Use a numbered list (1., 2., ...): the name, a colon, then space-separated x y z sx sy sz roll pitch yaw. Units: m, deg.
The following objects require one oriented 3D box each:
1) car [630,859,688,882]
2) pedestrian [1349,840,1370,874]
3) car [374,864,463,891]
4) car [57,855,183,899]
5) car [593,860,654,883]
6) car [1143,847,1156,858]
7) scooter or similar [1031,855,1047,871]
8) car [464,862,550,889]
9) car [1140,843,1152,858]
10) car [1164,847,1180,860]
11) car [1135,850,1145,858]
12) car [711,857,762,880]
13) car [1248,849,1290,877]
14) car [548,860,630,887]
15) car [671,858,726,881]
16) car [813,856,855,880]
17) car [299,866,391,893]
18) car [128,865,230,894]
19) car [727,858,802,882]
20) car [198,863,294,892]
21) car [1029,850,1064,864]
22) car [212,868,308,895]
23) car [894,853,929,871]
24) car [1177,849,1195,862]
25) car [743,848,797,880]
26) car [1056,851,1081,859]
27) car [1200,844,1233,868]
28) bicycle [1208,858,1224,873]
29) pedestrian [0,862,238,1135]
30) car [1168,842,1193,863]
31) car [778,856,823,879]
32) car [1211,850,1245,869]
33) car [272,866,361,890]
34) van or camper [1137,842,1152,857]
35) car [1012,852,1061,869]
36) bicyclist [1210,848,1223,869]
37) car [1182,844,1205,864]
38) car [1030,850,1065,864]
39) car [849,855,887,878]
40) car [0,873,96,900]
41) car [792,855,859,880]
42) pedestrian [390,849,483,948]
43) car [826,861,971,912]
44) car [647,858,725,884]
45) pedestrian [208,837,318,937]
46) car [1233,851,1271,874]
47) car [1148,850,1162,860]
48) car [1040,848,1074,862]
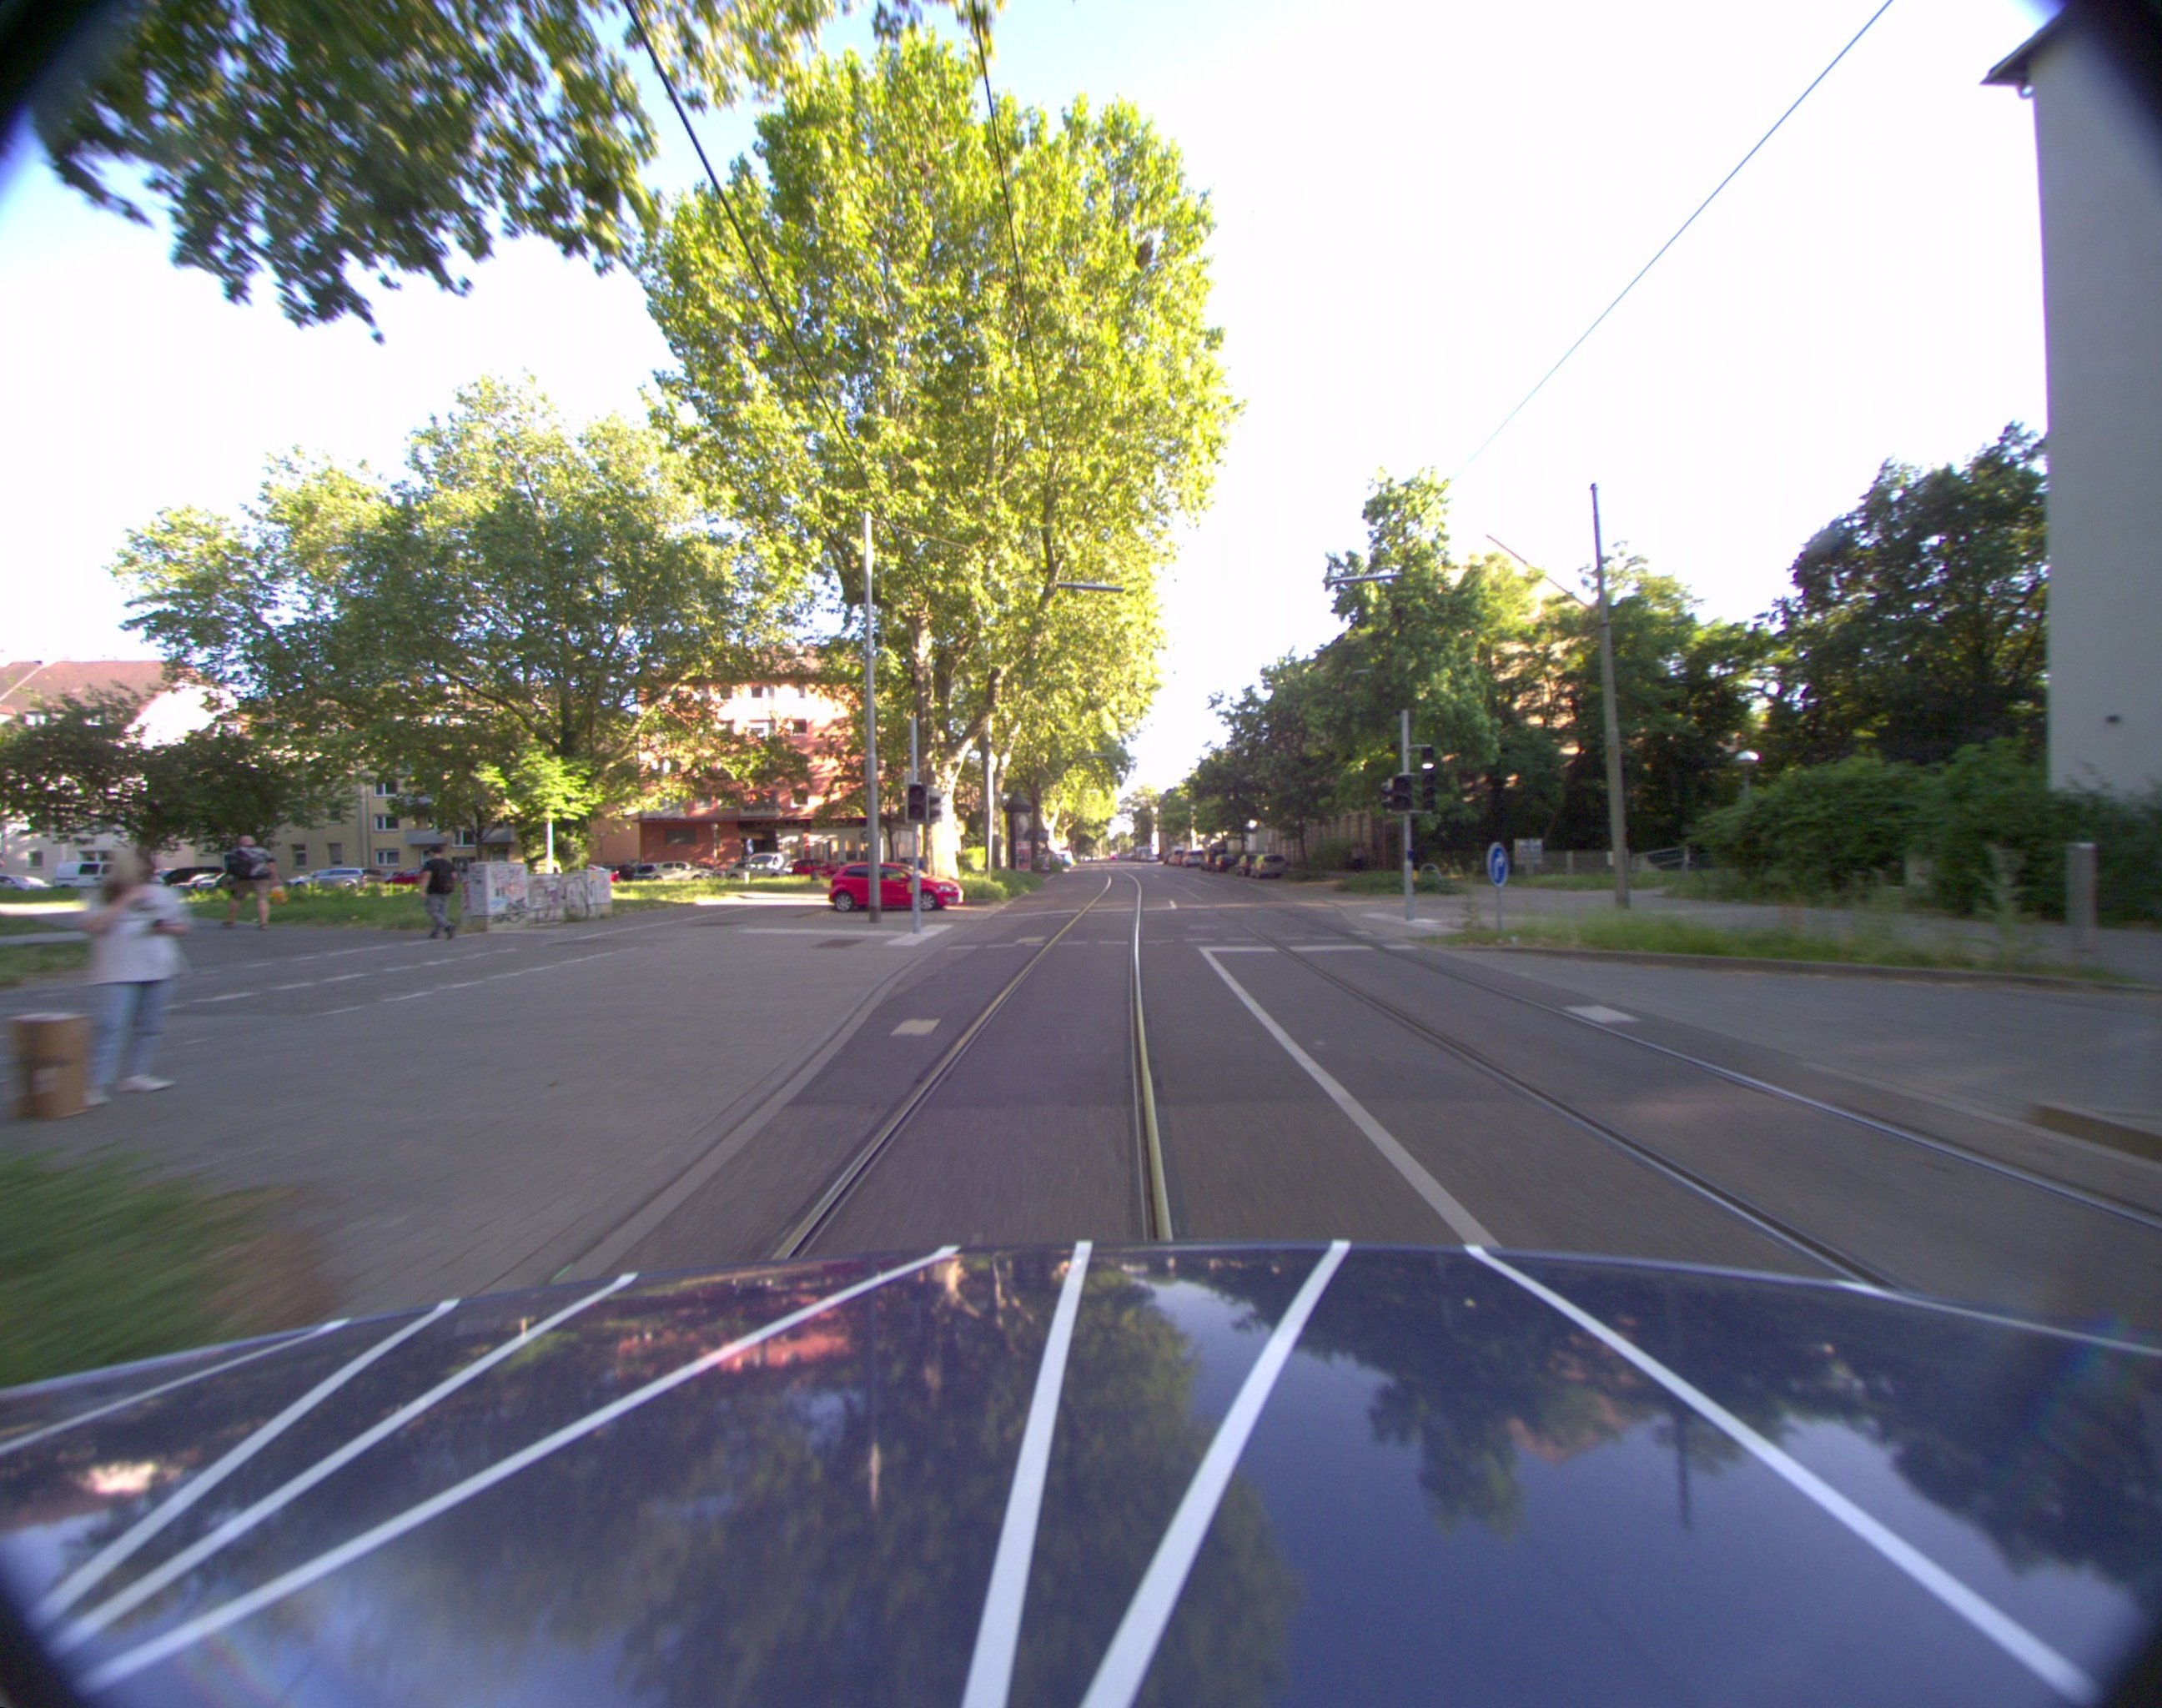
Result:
1. car: -30.569 1.162 55.189 1.794 1.565 4.576 -1 0 -3
2. pedestrian: 15.065 0.157 41.113 0.743 1.836 0.728 -3 1 -1
3. car: -40.556 1.422 46.579 3.928 1.572 1.683 -1 0 -1
4. car: -58.617 1.400 46.417 5.042 2.548 1.976 -1 1 -1
5. car: -32.922 1.227 54.786 1.794 1.565 4.576 -1 0 -3
6. car: 12.960 -0.283 143.160 1.928 2.034 4.941 -2 0 0
7. scooter or similar: -3.244 0.678 59.126 1.211 1.233 0.569 -1 1 -1
8. car: -35.266 1.285 46.745 3.928 1.572 1.683 -1 0 -1
9. car: 12.715 -0.740 149.173 1.927 2.730 4.546 -5 0 1
10. car: 12.585 -0.044 105.280 1.997 1.680 4.262 -1 0 4
11. car: 13.059 -0.017 167.838 1.791 1.743 4.435 -2 0 0
12. car: -24.830 1.014 54.972 1.794 1.565 4.576 -1 0 -3
13. car: 11.323 0.513 46.103 1.703 1.541 4.537 -2 0 4
14. car: -30.431 1.193 47.051 3.928 1.572 1.683 -1 0 -1
15. car: -27.619 1.086 55.055 1.794 1.565 4.576 -1 0 -3
16. car: -17.675 0.960 54.509 1.794 1.565 4.576 -1 0 -4
17. car: -44.902 1.535 46.401 3.928 1.572 1.683 -1 0 -1
18. car: -63.526 1.748 53.637 1.794 1.896 4.576 -1 0 -3
19. car: -19.728 0.976 47.418 3.928 1.444 1.683 -1 0 -1
20. car: -58.746 1.618 53.582 1.794 1.896 4.576 -1 0 -3
21. car: -4.250 0.412 93.078 4.211 1.609 1.878 -1 1 -2
22. car: -50.226 1.676 46.538 3.928 1.572 1.683 -1 0 -1
23. car: -13.975 0.611 62.946 1.753 1.426 4.468 -1 0 1
24. car: 12.525 0.190 91.096 1.689 1.530 3.707 -1 0 0
25. car: -22.514 0.708 55.161 1.917 2.171 5.083 -1 0 -2
26. car: -2.457 0.128 150.110 4.611 1.485 1.893 0 0 4
27. car: 11.823 0.127 66.650 1.998 2.002 4.834 -1 0 0
28. bicycle: 9.579 0.828 53.989 0.642 0.981 2.101 5 1 0
29. pedestrian: -6.352 0.894 5.031 0.654 1.659 0.738 -1 1 0
30. car: 12.534 -0.198 96.078 2.310 2.493 5.343 -1 0 -1
31. car: -20.331 0.959 55.290 1.794 1.565 4.576 -1 0 -3
32. car: 11.835 0.448 61.355 1.858 1.450 4.269 -1 0 0
33. car: -54.443 1.665 54.235 1.794 1.565 4.576 -1 0 -3
34. van or camper: 13.014 -0.960 156.273 2.423 2.960 5.991 -5 0 2
35. car: -4.270 0.628 72.797 4.411 1.534 1.818 -1 1 8
36. bicyclist: 9.634 0.331 54.164 0.642 1.447 0.837 5 1 0
37. car: 11.939 0.008 80.963 1.848 1.977 4.988 -1 0 2
38. car: -4.169 0.388 95.693 4.209 1.609 1.818 -1 1 3
39. car: -15.448 0.895 55.375 1.794 1.565 4.576 -1 0 -4
40. car: -63.331 1.971 46.379 3.997 1.501 1.800 -1 0 -1
41. car: -15.817 0.825 47.101 3.547 1.444 1.683 -1 0 -1
42. pedestrian: -12.231 0.819 14.459 0.997 1.800 0.864 -1 1 -4
43. car: -5.445 0.947 22.938 3.893 1.415 1.649 -1 1 4
44. car: -24.540 1.038 47.305 3.928 1.572 1.683 -1 0 -1
45. pedestrian: -15.904 0.628 14.812 0.985 1.853 1.015 2 0 -4
46. car: 11.423 0.518 51.001 1.662 1.437 3.949 -2 0 1
47. car: 12.830 0.166 132.633 1.776 1.484 4.940 -2 0 -2
48. car: -3.517 0.098 111.068 4.859 2.002 2.194 0 0 -2
